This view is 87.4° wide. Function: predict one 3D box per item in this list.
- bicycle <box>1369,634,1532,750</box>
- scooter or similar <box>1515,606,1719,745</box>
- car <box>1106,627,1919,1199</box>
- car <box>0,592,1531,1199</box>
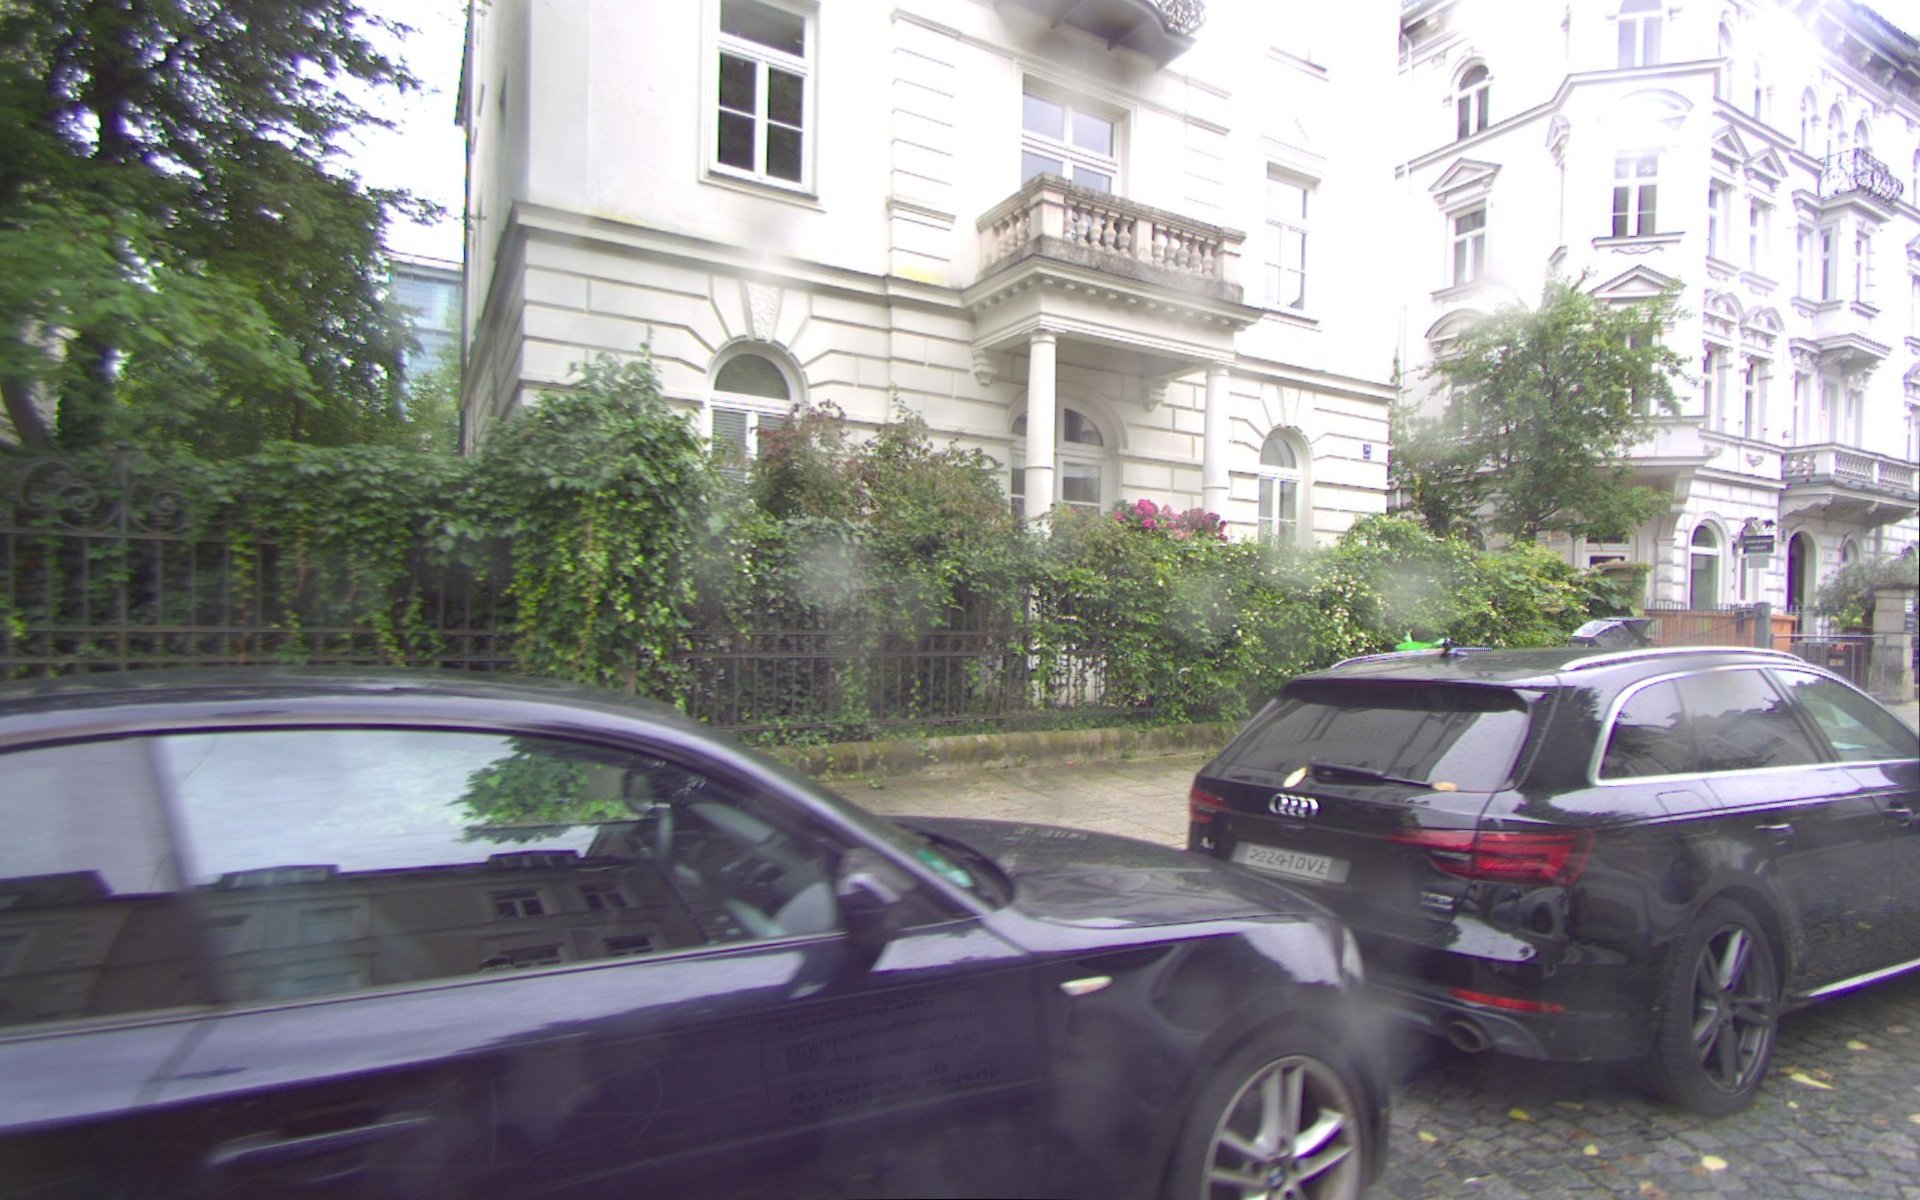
[{"bbox_3d":[5.340,0.953,10.881,2.027,1.137,0.574,1,0,-31],"label":"bicycle"},{"bbox_3d":[7.804,0.836,11.892,2.626,1.461,0.936,1,1,-31],"label":"scooter or similar"},{"bbox_3d":[2.960,0.864,4.409,4.353,1.436,1.879,1,-3,-29],"label":"car"},{"bbox_3d":[-0.988,0.763,2.041,4.445,1.436,1.775,1,-3,-31],"label":"car"}]
